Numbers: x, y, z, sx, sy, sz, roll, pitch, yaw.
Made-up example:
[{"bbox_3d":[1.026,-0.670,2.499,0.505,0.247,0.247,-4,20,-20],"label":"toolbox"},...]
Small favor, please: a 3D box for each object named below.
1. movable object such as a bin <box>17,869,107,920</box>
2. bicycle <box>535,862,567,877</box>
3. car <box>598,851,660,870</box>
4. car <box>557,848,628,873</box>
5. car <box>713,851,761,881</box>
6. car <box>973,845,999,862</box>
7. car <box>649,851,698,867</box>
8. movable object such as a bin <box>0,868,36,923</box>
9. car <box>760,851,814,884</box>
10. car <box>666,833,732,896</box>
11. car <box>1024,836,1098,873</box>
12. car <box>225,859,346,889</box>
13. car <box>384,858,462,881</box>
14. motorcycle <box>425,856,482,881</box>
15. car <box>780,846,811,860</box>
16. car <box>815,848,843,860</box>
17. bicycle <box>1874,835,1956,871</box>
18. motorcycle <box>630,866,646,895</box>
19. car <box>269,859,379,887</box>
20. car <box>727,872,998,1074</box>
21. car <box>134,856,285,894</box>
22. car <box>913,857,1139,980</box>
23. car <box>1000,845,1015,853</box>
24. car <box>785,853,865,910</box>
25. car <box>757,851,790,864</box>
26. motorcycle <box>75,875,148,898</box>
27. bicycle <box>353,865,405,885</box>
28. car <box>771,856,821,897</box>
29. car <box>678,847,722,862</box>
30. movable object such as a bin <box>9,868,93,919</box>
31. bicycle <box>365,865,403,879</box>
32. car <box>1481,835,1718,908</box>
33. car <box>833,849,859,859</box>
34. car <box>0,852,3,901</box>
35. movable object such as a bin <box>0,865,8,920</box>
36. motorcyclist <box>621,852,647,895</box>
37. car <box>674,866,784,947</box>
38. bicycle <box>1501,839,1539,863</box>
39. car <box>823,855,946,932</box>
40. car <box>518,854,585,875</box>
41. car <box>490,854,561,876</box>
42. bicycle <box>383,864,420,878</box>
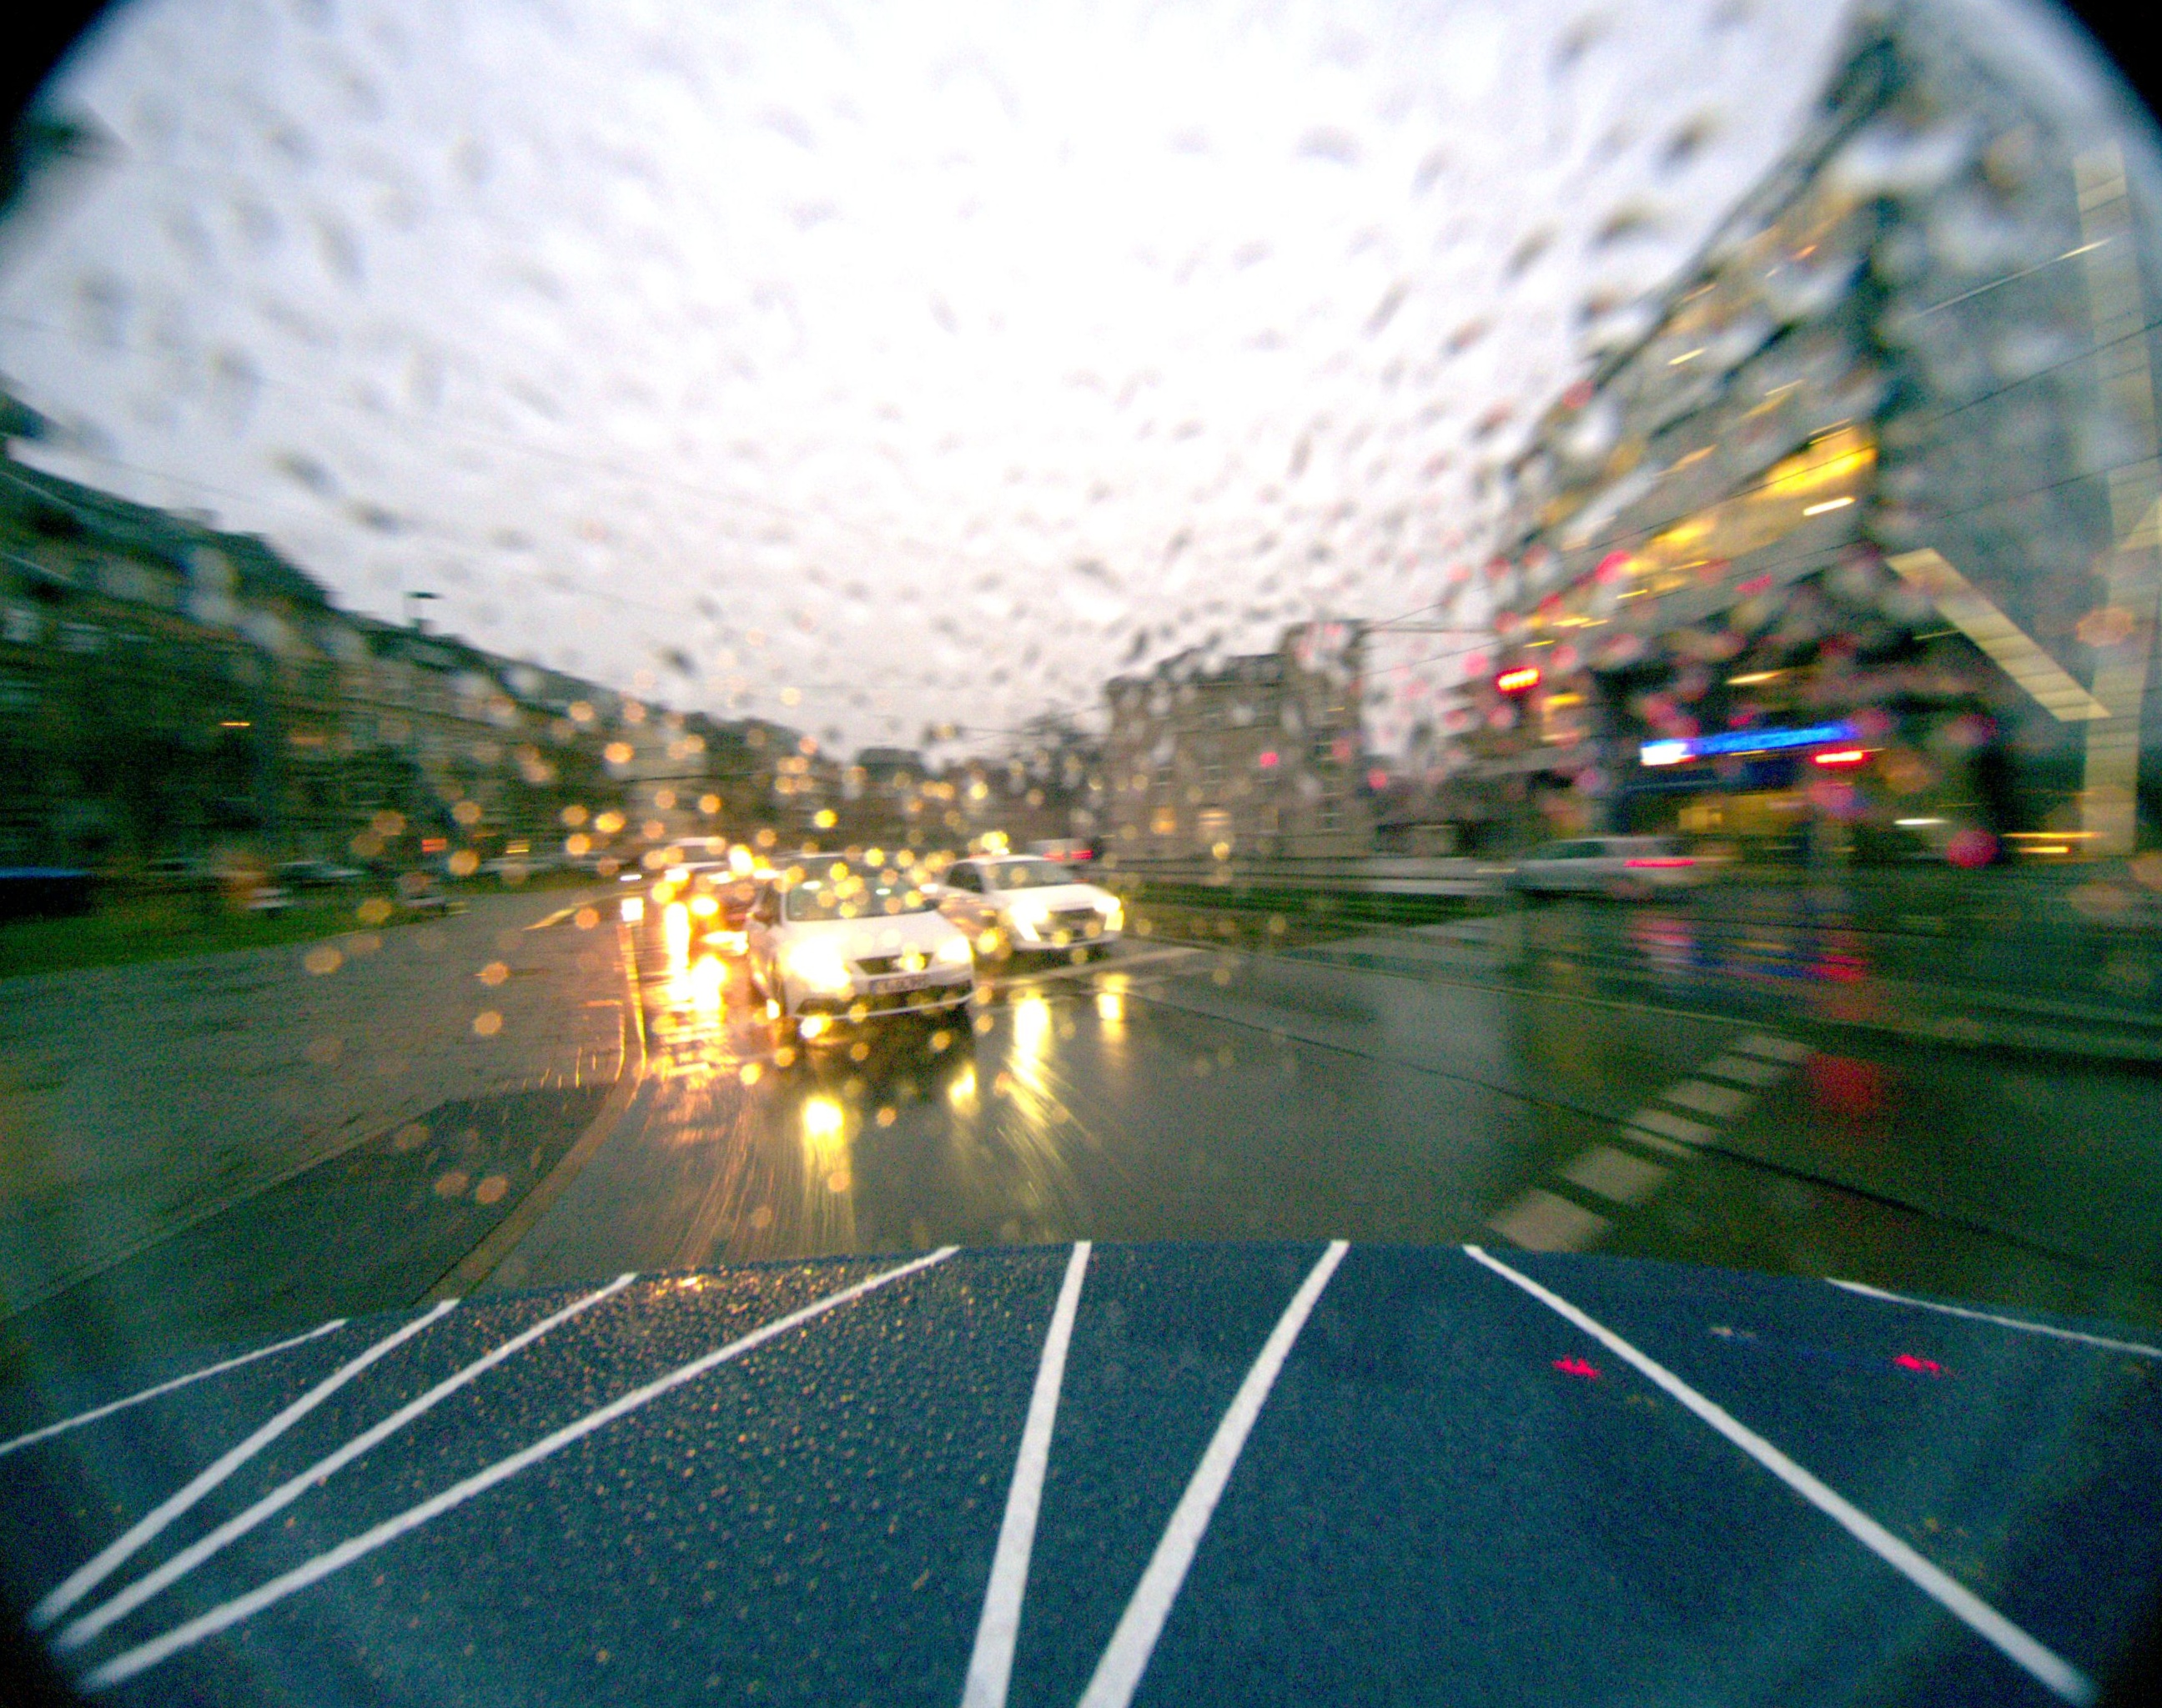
[{"bbox_3d":[-29.994,1.182,22.390,1.051,1.424,1.226,-1,1,12],"label":"movable object such as a bin"},{"bbox_3d":[-33.784,0.991,48.441,1.793,0.926,0.446,1,1,5],"label":"bicycle"},{"bbox_3d":[-36.481,0.492,61.371,3.967,1.436,1.698,-1,1,-18],"label":"car"},{"bbox_3d":[-37.422,0.482,58.335,4.350,1.758,1.777,-1,1,-23],"label":"car"},{"bbox_3d":[-21.398,0.706,47.411,1.878,1.679,4.165,-2,1,-13],"label":"car"},{"bbox_3d":[-8.091,-0.043,64.455,1.646,1.378,4.470,-1,1,-13],"label":"car"},{"bbox_3d":[-35.981,0.442,67.151,3.617,1.362,1.615,-1,1,-19],"label":"car"},{"bbox_3d":[-30.256,1.160,21.005,1.051,1.502,1.254,-1,1,12],"label":"movable object such as a bin"},{"bbox_3d":[-14.480,0.606,37.604,1.878,1.466,4.165,-2,1,-13],"label":"car"},{"bbox_3d":[-16.395,0.376,32.837,2.246,2.449,5.657,-2,2,-25],"label":"car"},{"bbox_3d":[-1.179,0.022,41.502,1.908,1.861,4.951,-2,1,-29],"label":"car"},{"bbox_3d":[-39.224,0.956,37.590,3.693,1.298,1.738,-1,1,-24],"label":"car"},{"bbox_3d":[-40.858,0.963,47.269,3.304,1.298,1.518,-1,1,-23],"label":"car"},{"bbox_3d":[-35.884,0.832,43.489,2.358,1.338,0.884,2,1,-9],"label":"motorcycle"},{"bbox_3d":[-33.567,-0.110,89.313,3.188,1.615,1.426,-1,1,-15],"label":"car"},{"bbox_3d":[-32.368,-0.013,97.660,3.188,1.405,1.380,-1,1,-13],"label":"car"},{"bbox_3d":[25.883,-0.032,23.619,0.643,1.064,1.598,-2,0,-28],"label":"bicycle"},{"bbox_3d":[-19.914,1.168,34.184,0.485,1.176,2.404,-2,1,-27],"label":"motorcycle"},{"bbox_3d":[-39.621,0.989,39.890,3.693,1.298,1.665,-1,1,-24],"label":"car"},{"bbox_3d":[-2.592,0.978,8.167,1.791,1.371,4.212,-4,2,-30],"label":"car"},{"bbox_3d":[-39.799,0.918,34.850,4.161,1.560,1.738,-1,1,-24],"label":"car"},{"bbox_3d":[-1.013,0.820,11.700,1.766,1.455,3.907,-4,2,-32],"label":"car"},{"bbox_3d":[-12.822,-0.872,133.023,1.750,1.362,3.616,-1,1,9],"label":"car"},{"bbox_3d":[-8.228,0.793,24.168,1.679,1.590,4.213,-2,1,-28],"label":"car"},{"bbox_3d":[-34.744,0.350,85.892,3.188,1.420,1.426,-1,1,-15],"label":"car"},{"bbox_3d":[-39.654,1.317,31.101,1.798,0.926,0.511,0,1,-23],"label":"motorcycle"},{"bbox_3d":[-36.628,1.084,39.685,0.535,1.013,1.911,1,1,27],"label":"bicycle"},{"bbox_3d":[-11.315,0.824,30.101,1.692,1.422,3.340,-2,1,-21],"label":"car"},{"bbox_3d":[-36.251,0.056,72.380,3.619,1.362,1.614,-1,1,-25],"label":"car"},{"bbox_3d":[-31.186,1.181,23.026,1.051,1.477,1.141,-1,1,12],"label":"movable object such as a bin"},{"bbox_3d":[-40.656,1.070,44.307,1.794,0.773,0.446,1,1,1],"label":"bicycle"},{"bbox_3d":[12.117,0.348,18.127,1.868,1.477,4.332,-2,1,-24],"label":"car"},{"bbox_3d":[-31.460,-0.052,101.655,3.188,1.276,1.380,-1,1,-13],"label":"car"},{"bbox_3d":[-48.845,1.045,31.306,1.998,2.177,4.662,-1,1,5],"label":"car"},{"bbox_3d":[-31.411,1.103,21.311,1.051,1.566,1.141,-1,1,12],"label":"movable object such as a bin"},{"bbox_3d":[-20.037,0.869,34.048,0.887,1.871,0.919,-2,1,-27],"label":"motorcyclist"},{"bbox_3d":[-7.612,1.016,16.246,1.727,1.380,3.812,-3,2,-30],"label":"car"},{"bbox_3d":[20.913,-0.159,36.221,1.495,1.121,0.529,-1,1,9],"label":"bicycle"},{"bbox_3d":[-4.850,0.823,18.274,1.829,1.561,4.351,-2,1,-29],"label":"car"},{"bbox_3d":[-38.404,0.746,55.177,3.692,1.428,1.518,-1,1,-23],"label":"car"},{"bbox_3d":[-38.282,0.737,52.437,3.692,1.391,1.518,-1,1,-23],"label":"car"},{"bbox_3d":[-40.703,1.041,45.514,1.794,0.813,0.394,1,1,-2],"label":"bicycle"}]
